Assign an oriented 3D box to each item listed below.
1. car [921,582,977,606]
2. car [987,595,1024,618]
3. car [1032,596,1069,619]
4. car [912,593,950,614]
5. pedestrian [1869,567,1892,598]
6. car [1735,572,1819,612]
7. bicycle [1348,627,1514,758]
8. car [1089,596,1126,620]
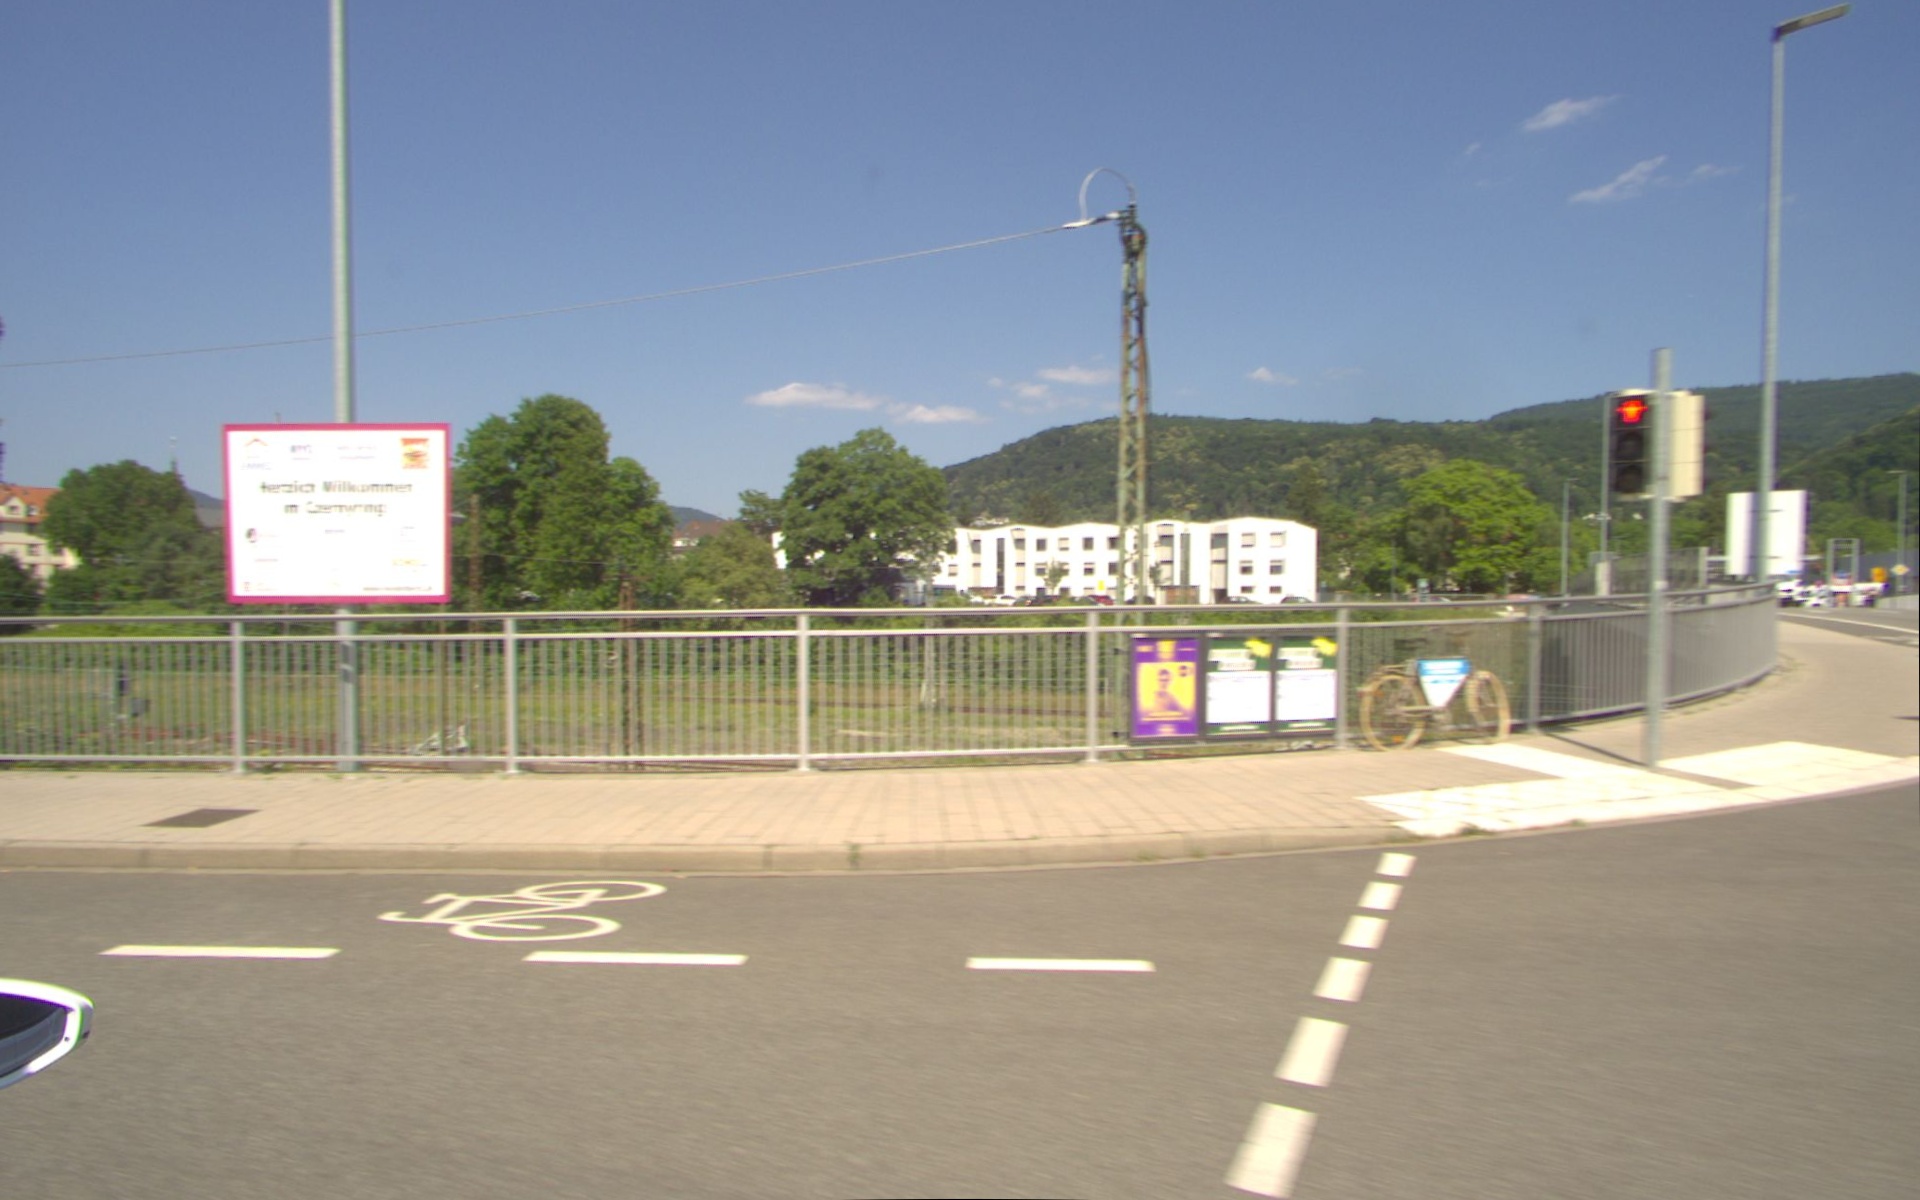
[{"bbox_3d":[-1.012,-0.585,92.529,4.896,2.141,1.998,0,1,10],"label":"car"},{"bbox_3d":[4.427,0.601,96.818,1.968,2.041,4.453,1,1,27],"label":"car"},{"bbox_3d":[8.411,0.654,93.028,1.968,2.041,4.453,1,1,27],"label":"car"},{"bbox_3d":[-2.851,0.307,99.672,1.968,2.041,4.453,1,1,27],"label":"car"},{"bbox_3d":[61.731,-1.151,67.133,0.845,2.041,1.150,1,2,29],"label":"pedestrian"},{"bbox_3d":[37.269,-0.374,45.807,1.968,1.742,4.615,1,1,26],"label":"car"},{"bbox_3d":[4.296,0.814,9.109,1.592,1.115,0.297,0,2,-19],"label":"bicycle"},{"bbox_3d":[13.320,0.696,90.210,1.968,2.041,4.453,1,1,27],"label":"car"}]
